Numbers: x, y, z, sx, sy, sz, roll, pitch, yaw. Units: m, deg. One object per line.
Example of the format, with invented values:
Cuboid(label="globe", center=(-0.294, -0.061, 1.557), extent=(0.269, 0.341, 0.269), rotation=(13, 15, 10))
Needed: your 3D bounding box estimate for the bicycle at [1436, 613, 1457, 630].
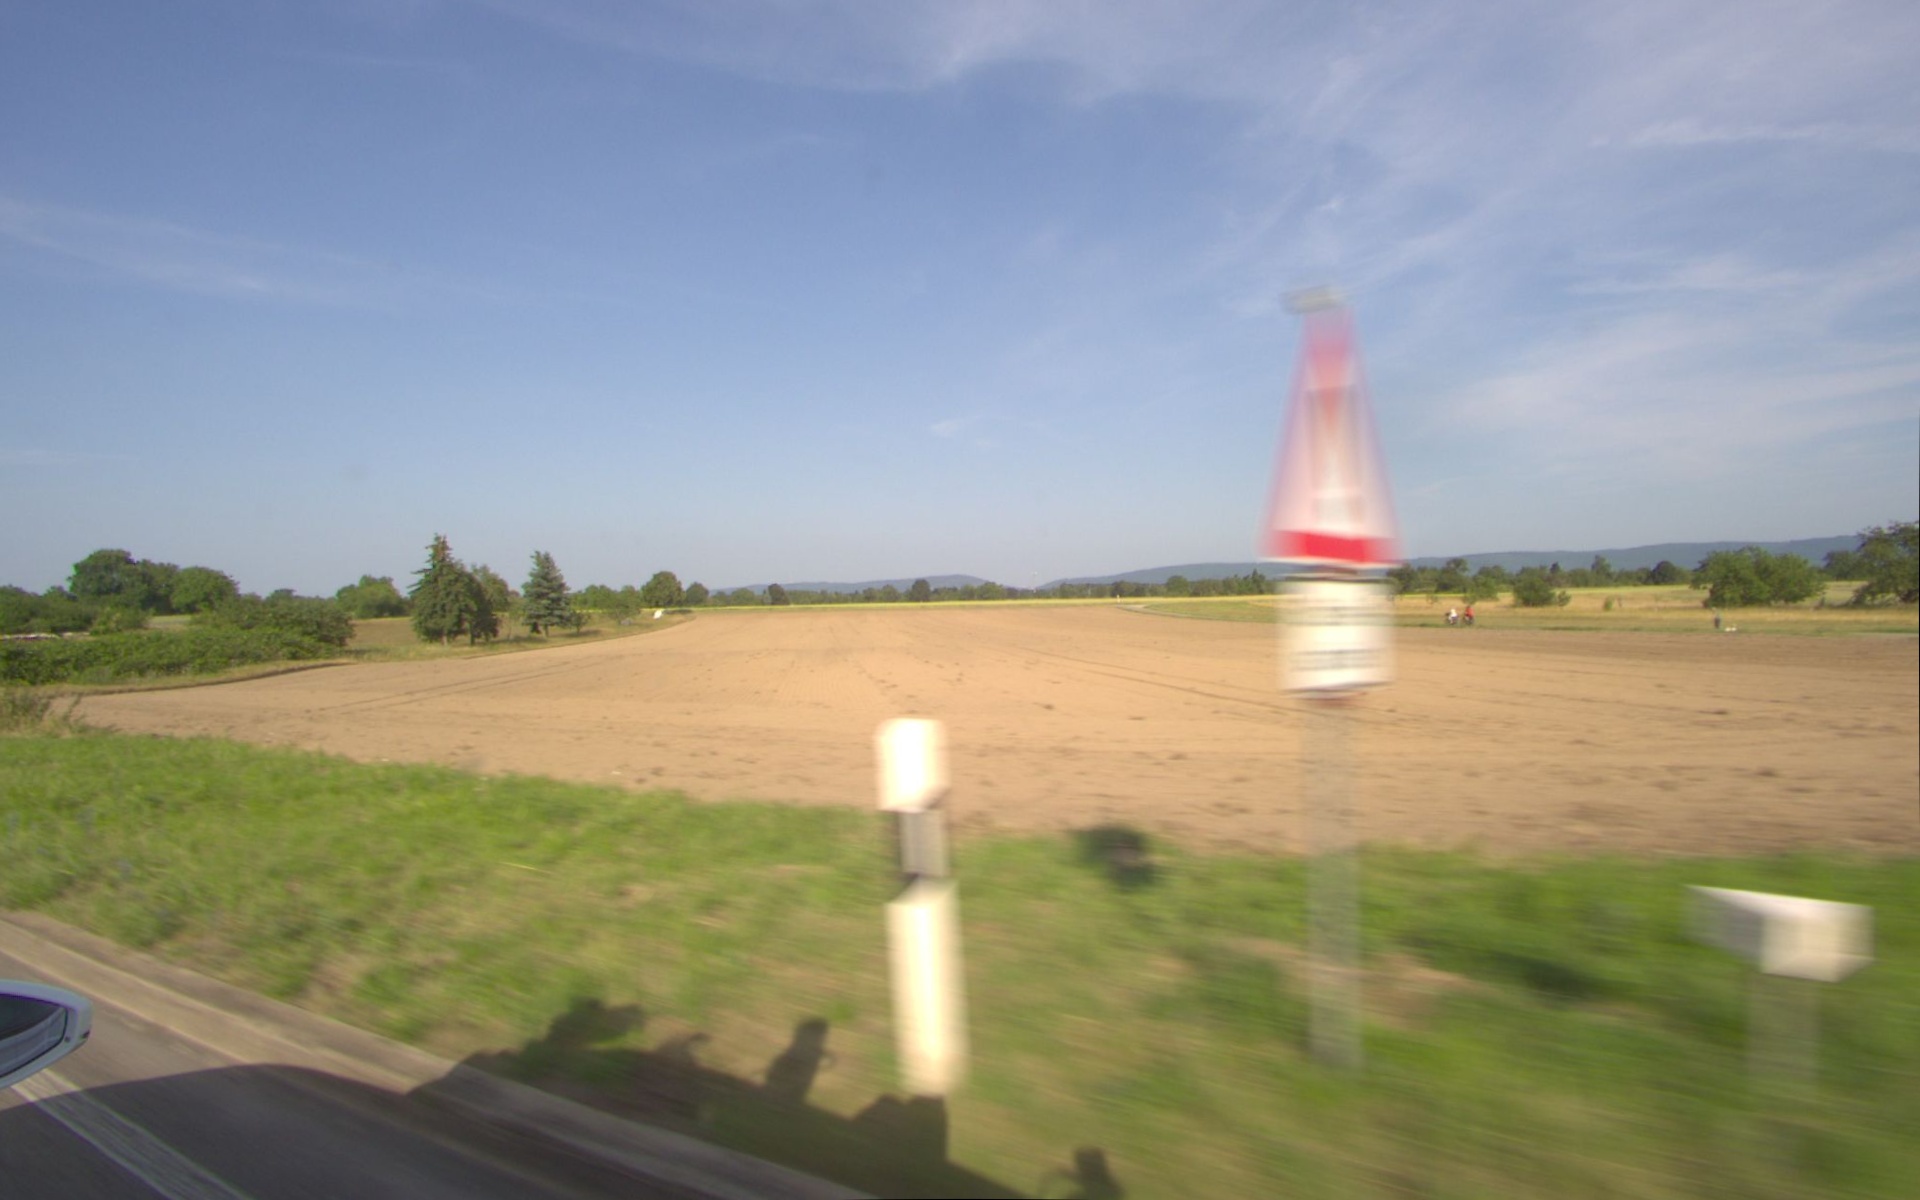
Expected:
Cuboid(label="bicycle", center=(43.473, 1.930, 89.423), extent=(0.494, 1.550, 1.975), rotation=(0, -1, -15))

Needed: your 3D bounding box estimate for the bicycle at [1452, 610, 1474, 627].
Cuboid(label="bicycle", center=(44.559, 1.653, 88.734), extent=(0.494, 1.550, 1.975), rotation=(0, -1, -15))

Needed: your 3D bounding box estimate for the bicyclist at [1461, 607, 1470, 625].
Cuboid(label="bicyclist", center=(44.628, 1.399, 88.439), extent=(0.479, 1.617, 0.550), rotation=(0, -1, -15))
